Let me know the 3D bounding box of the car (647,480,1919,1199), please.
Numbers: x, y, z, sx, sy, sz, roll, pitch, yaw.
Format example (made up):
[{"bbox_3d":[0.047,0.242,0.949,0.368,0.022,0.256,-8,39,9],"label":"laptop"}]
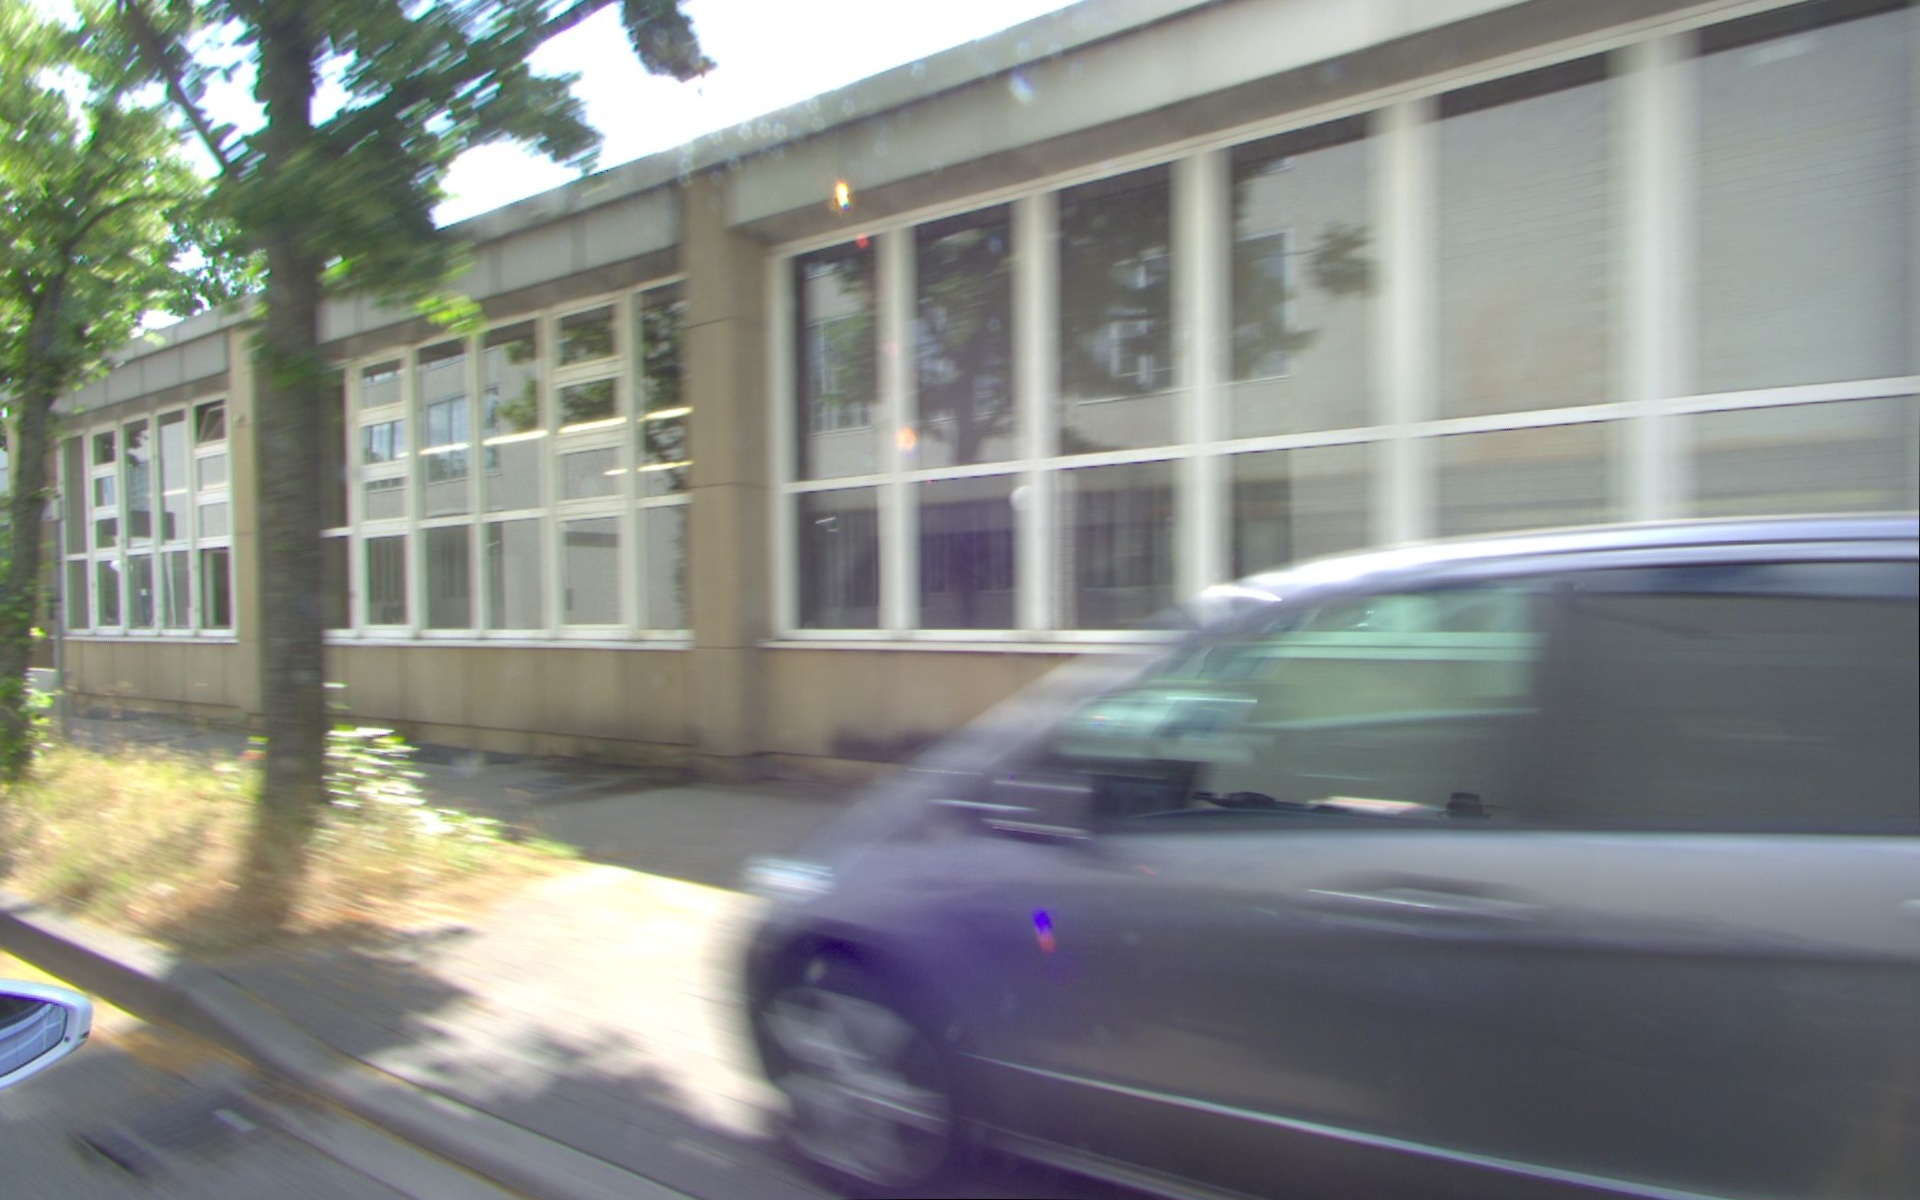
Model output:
[{"bbox_3d":[1.232,0.622,2.466,3.761,1.589,1.752,-1,1,31],"label":"car"}]

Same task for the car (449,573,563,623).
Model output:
[{"bbox_3d":[-15.236,-0.046,33.608,3.568,1.573,1.624,-1,0,28],"label":"car"}]

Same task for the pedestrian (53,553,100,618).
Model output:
[{"bbox_3d":[-28.390,-0.463,32.179,0.937,2.040,0.924,0,1,35],"label":"pedestrian"}]
